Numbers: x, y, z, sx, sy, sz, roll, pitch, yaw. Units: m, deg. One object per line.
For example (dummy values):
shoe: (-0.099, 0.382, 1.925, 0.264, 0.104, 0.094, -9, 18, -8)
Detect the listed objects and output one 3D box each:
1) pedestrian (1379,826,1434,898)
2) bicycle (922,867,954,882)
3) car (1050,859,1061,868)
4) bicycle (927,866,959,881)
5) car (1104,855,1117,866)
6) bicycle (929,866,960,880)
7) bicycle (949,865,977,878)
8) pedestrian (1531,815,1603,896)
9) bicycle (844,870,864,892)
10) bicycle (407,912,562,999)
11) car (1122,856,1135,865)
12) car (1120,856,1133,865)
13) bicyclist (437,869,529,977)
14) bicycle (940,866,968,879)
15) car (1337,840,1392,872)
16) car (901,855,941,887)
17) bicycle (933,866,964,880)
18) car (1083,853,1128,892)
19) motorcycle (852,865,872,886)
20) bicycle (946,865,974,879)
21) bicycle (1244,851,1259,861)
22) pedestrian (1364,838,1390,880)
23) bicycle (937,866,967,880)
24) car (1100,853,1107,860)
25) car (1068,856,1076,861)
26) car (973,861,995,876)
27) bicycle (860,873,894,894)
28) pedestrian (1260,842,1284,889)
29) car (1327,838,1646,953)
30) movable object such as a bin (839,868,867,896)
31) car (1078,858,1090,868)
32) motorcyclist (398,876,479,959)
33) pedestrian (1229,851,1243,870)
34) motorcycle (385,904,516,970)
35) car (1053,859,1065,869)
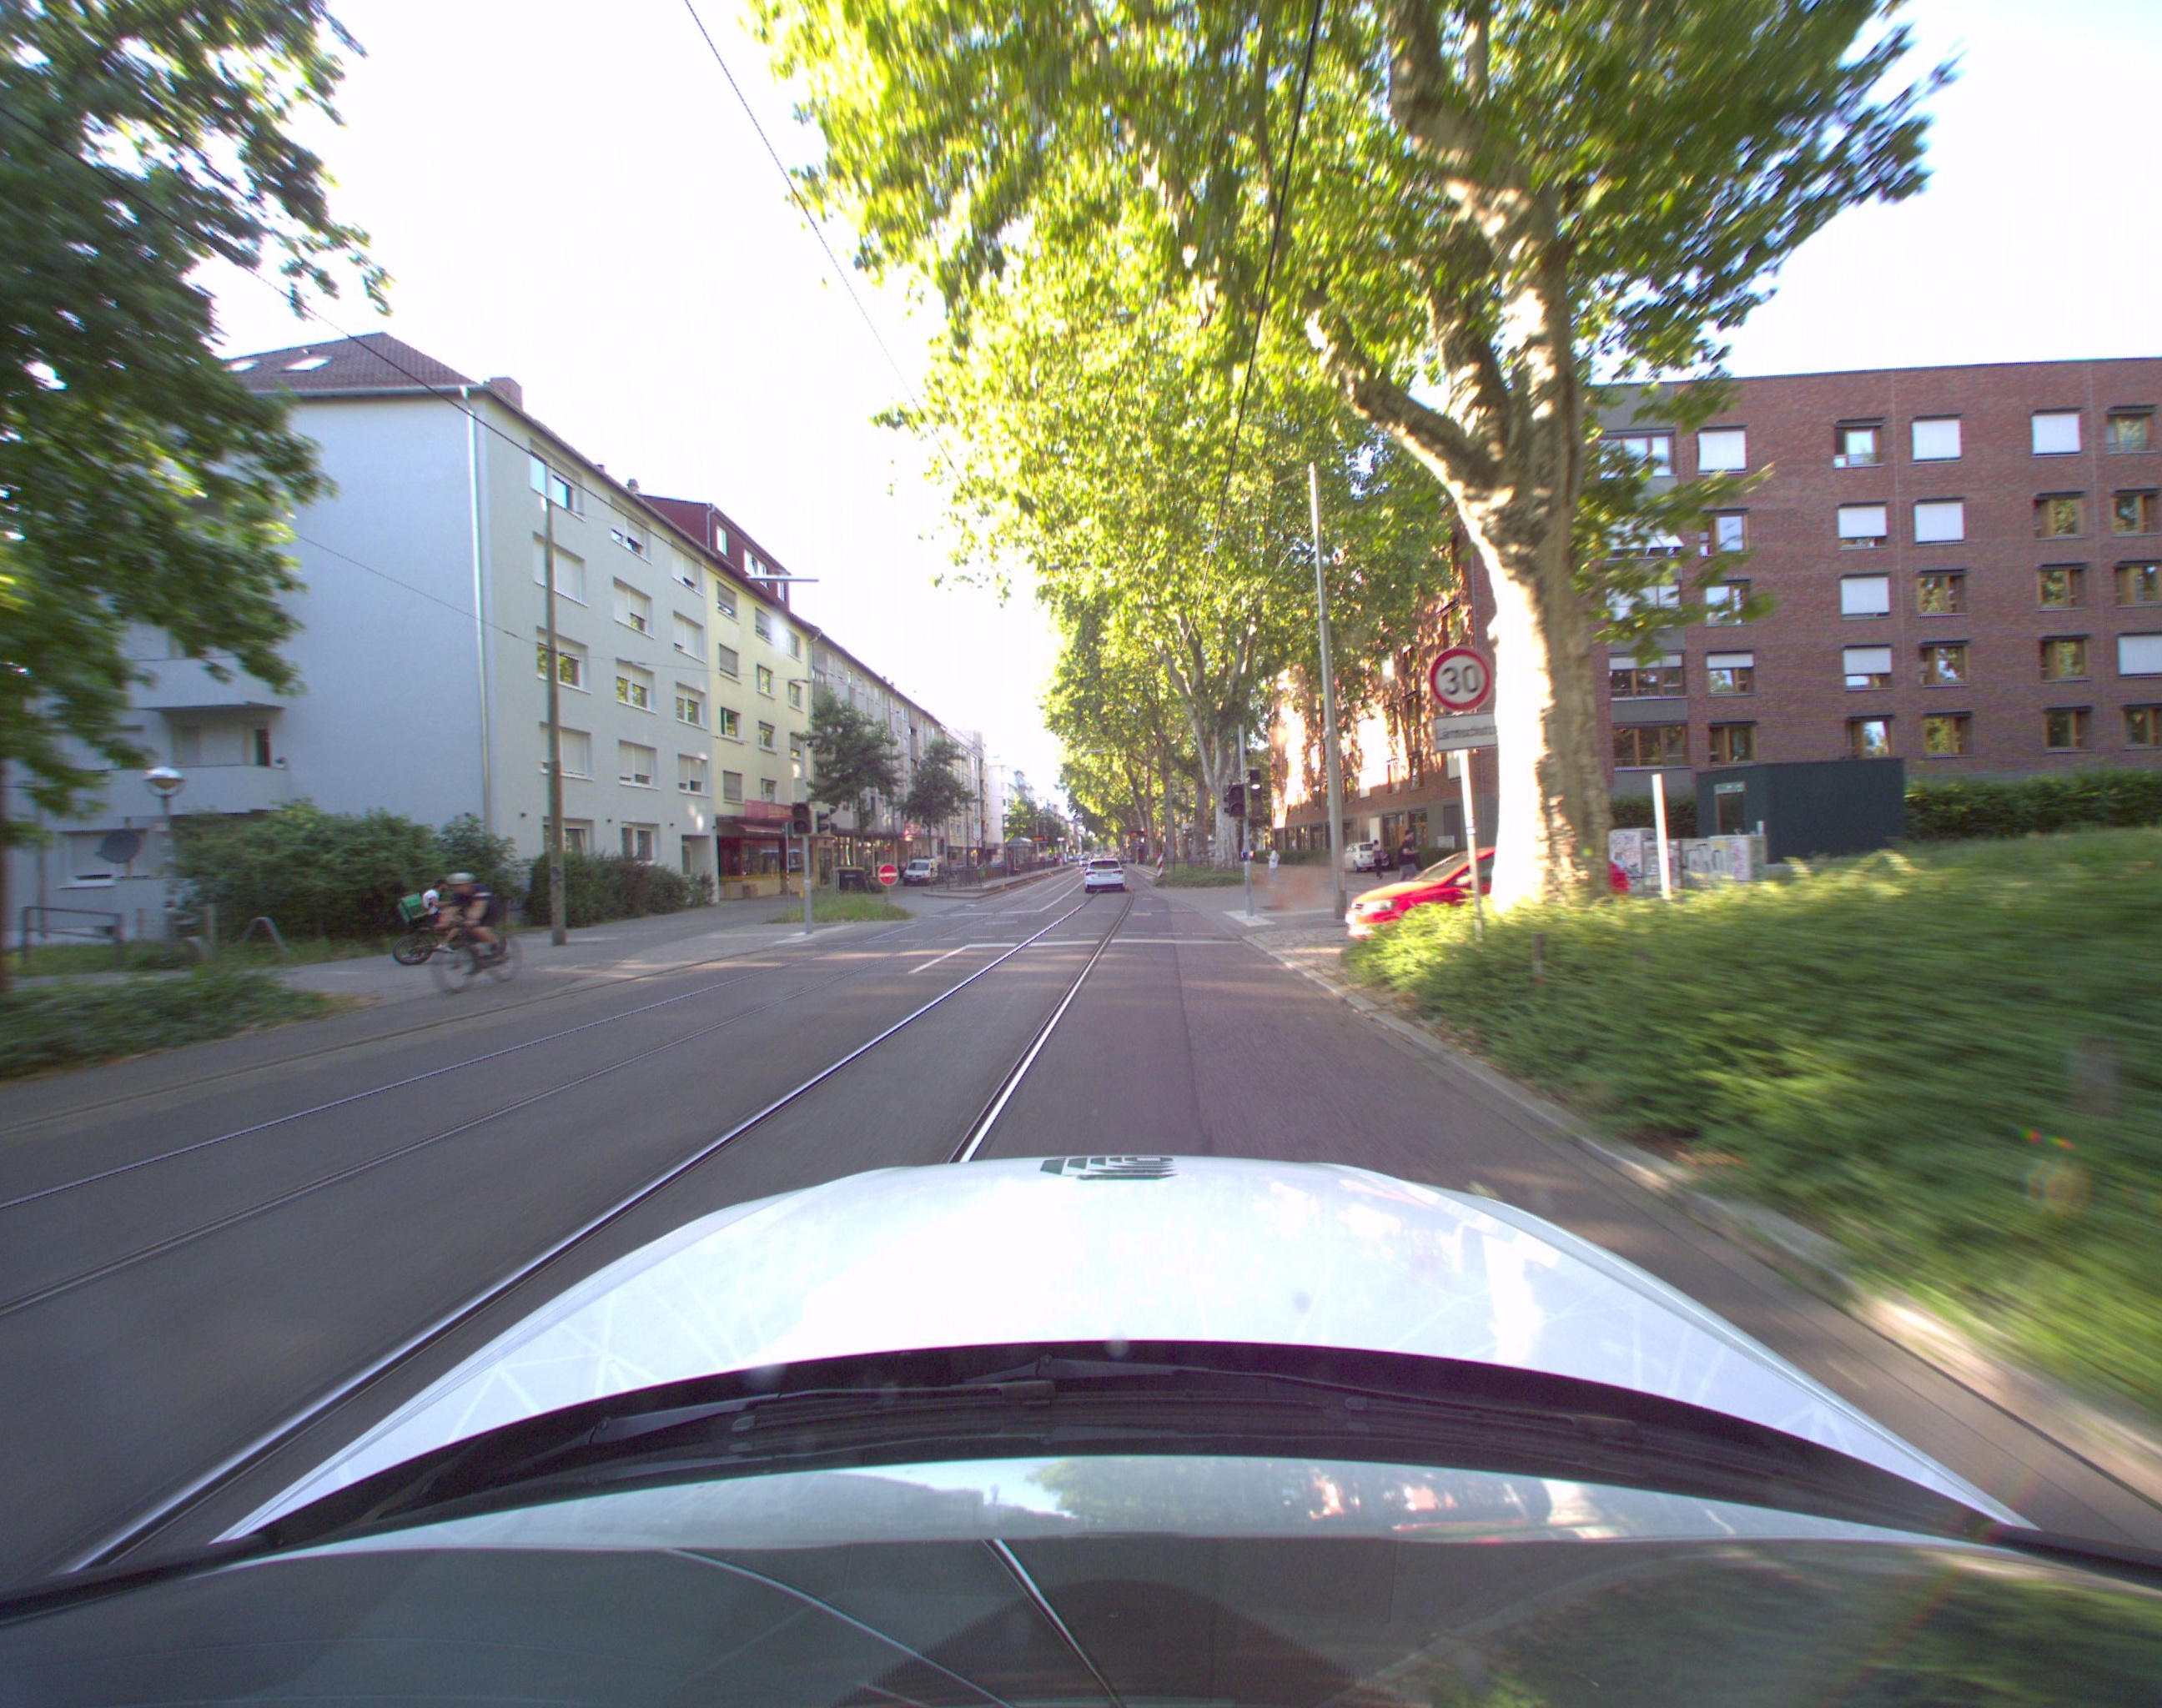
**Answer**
pedestrian: (8.556, 0.210, 21.417, 0.992, 1.811, 0.863, -3, 0, -4)
bicycle: (-10.543, 1.481, 60.043, 2.243, 1.074, 0.637, 1, 0, 3)
car: (-4.552, 1.657, 145.023, 1.671, 1.548, 4.002, 0, 0, 2)
bicycle: (-10.439, 1.499, 61.690, 2.243, 1.074, 0.637, 1, 0, 3)
car: (4.227, 0.888, 116.006, 1.781, 1.513, 4.002, -3, 0, 2)
bicycle: (-10.642, 1.479, 63.384, 2.243, 1.074, 0.637, 1, 0, 3)
bicycle: (-10.238, 1.536, 70.727, 2.243, 1.074, 0.637, 1, 0, 3)
pedestrian: (12.065, 0.042, 20.241, 0.980, 1.863, 1.015, -6, 0, -4)
bicycle: (-11.762, 1.392, 42.243, 0.497, 1.107, 1.799, 1, 0, -1)
bicycle: (-8.627, 1.427, 11.911, 0.638, 0.987, 2.101, -3, 0, 1)
car: (7.802, 1.095, 134.856, 1.986, 1.453, 4.002, -3, 0, 2)
car: (7.798, 1.126, 139.946, 1.986, 1.453, 4.002, -3, 0, 2)
bicyclist: (-8.663, 0.973, 11.824, 0.639, 1.455, 0.837, -3, 0, 1)
bicycle: (-10.465, 1.512, 67.138, 2.243, 1.074, 0.637, 1, 0, 3)
car: (14.354, 0.090, 41.428, 1.595, 1.495, 3.417, -3, 0, 0)
car: (-10.594, 1.096, 54.110, 1.682, 1.940, 4.002, -3, 0, 2)
bicycle: (-10.429, 1.492, 64.125, 2.243, 1.074, 0.637, 1, 0, 3)
car: (1.068, 0.761, 35.156, 1.781, 1.513, 4.002, -3, 0, 2)
motorcycle: (-14.249, 1.398, 53.079, 0.596, 1.311, 2.223, -3, 0, 2)
bicycle: (-10.254, 1.528, 68.965, 2.243, 1.074, 0.637, 1, 0, 3)
bicycle: (19.164, 0.244, 91.660, 1.552, 1.037, 0.482, -3, 0, 23)
pedestrian: (12.145, 0.185, 33.432, 0.733, 1.669, 0.835, -3, 0, 1)
bicycle: (-10.375, 1.498, 65.388, 2.243, 1.074, 0.637, 1, 0, 3)
car: (6.515, 0.588, 234.520, 1.859, 1.892, 4.002, -3, 0, 2)
car: (-2.533, 1.275, 229.266, 1.781, 1.513, 4.002, -3, 0, 2)
car: (-9.950, 1.467, 83.721, 1.587, 1.548, 4.002, 0, 0, 2)
bicycle: (-10.721, 1.536, 42.888, 1.528, 1.075, 0.885, 0, 0, 1)
pedestrian: (7.076, 0.424, 30.196, 0.650, 1.669, 0.738, -3, 0, 1)
car: (5.848, 0.585, 12.125, 3.867, 1.423, 1.650, -3, 0, 4)
movable object such as a bin: (-11.447, 1.383, 40.833, 1.167, 1.348, 0.782, 1, -1, -3)
car: (0.529, 1.415, 126.419, 1.687, 1.419, 4.002, -3, 0, 2)
motorcyclist: (-11.966, 1.157, 15.205, 1.108, 1.449, 0.591, -2, 0, -34)
pedestrian: (13.321, 0.558, 69.914, 0.968, 1.623, 0.888, -3, 0, 1)
motorcycle: (-11.798, 1.535, 15.313, 1.885, 1.032, 0.591, -2, 0, -34)
car: (-3.590, 1.596, 132.420, 1.671, 1.548, 4.002, 0, 0, 2)
